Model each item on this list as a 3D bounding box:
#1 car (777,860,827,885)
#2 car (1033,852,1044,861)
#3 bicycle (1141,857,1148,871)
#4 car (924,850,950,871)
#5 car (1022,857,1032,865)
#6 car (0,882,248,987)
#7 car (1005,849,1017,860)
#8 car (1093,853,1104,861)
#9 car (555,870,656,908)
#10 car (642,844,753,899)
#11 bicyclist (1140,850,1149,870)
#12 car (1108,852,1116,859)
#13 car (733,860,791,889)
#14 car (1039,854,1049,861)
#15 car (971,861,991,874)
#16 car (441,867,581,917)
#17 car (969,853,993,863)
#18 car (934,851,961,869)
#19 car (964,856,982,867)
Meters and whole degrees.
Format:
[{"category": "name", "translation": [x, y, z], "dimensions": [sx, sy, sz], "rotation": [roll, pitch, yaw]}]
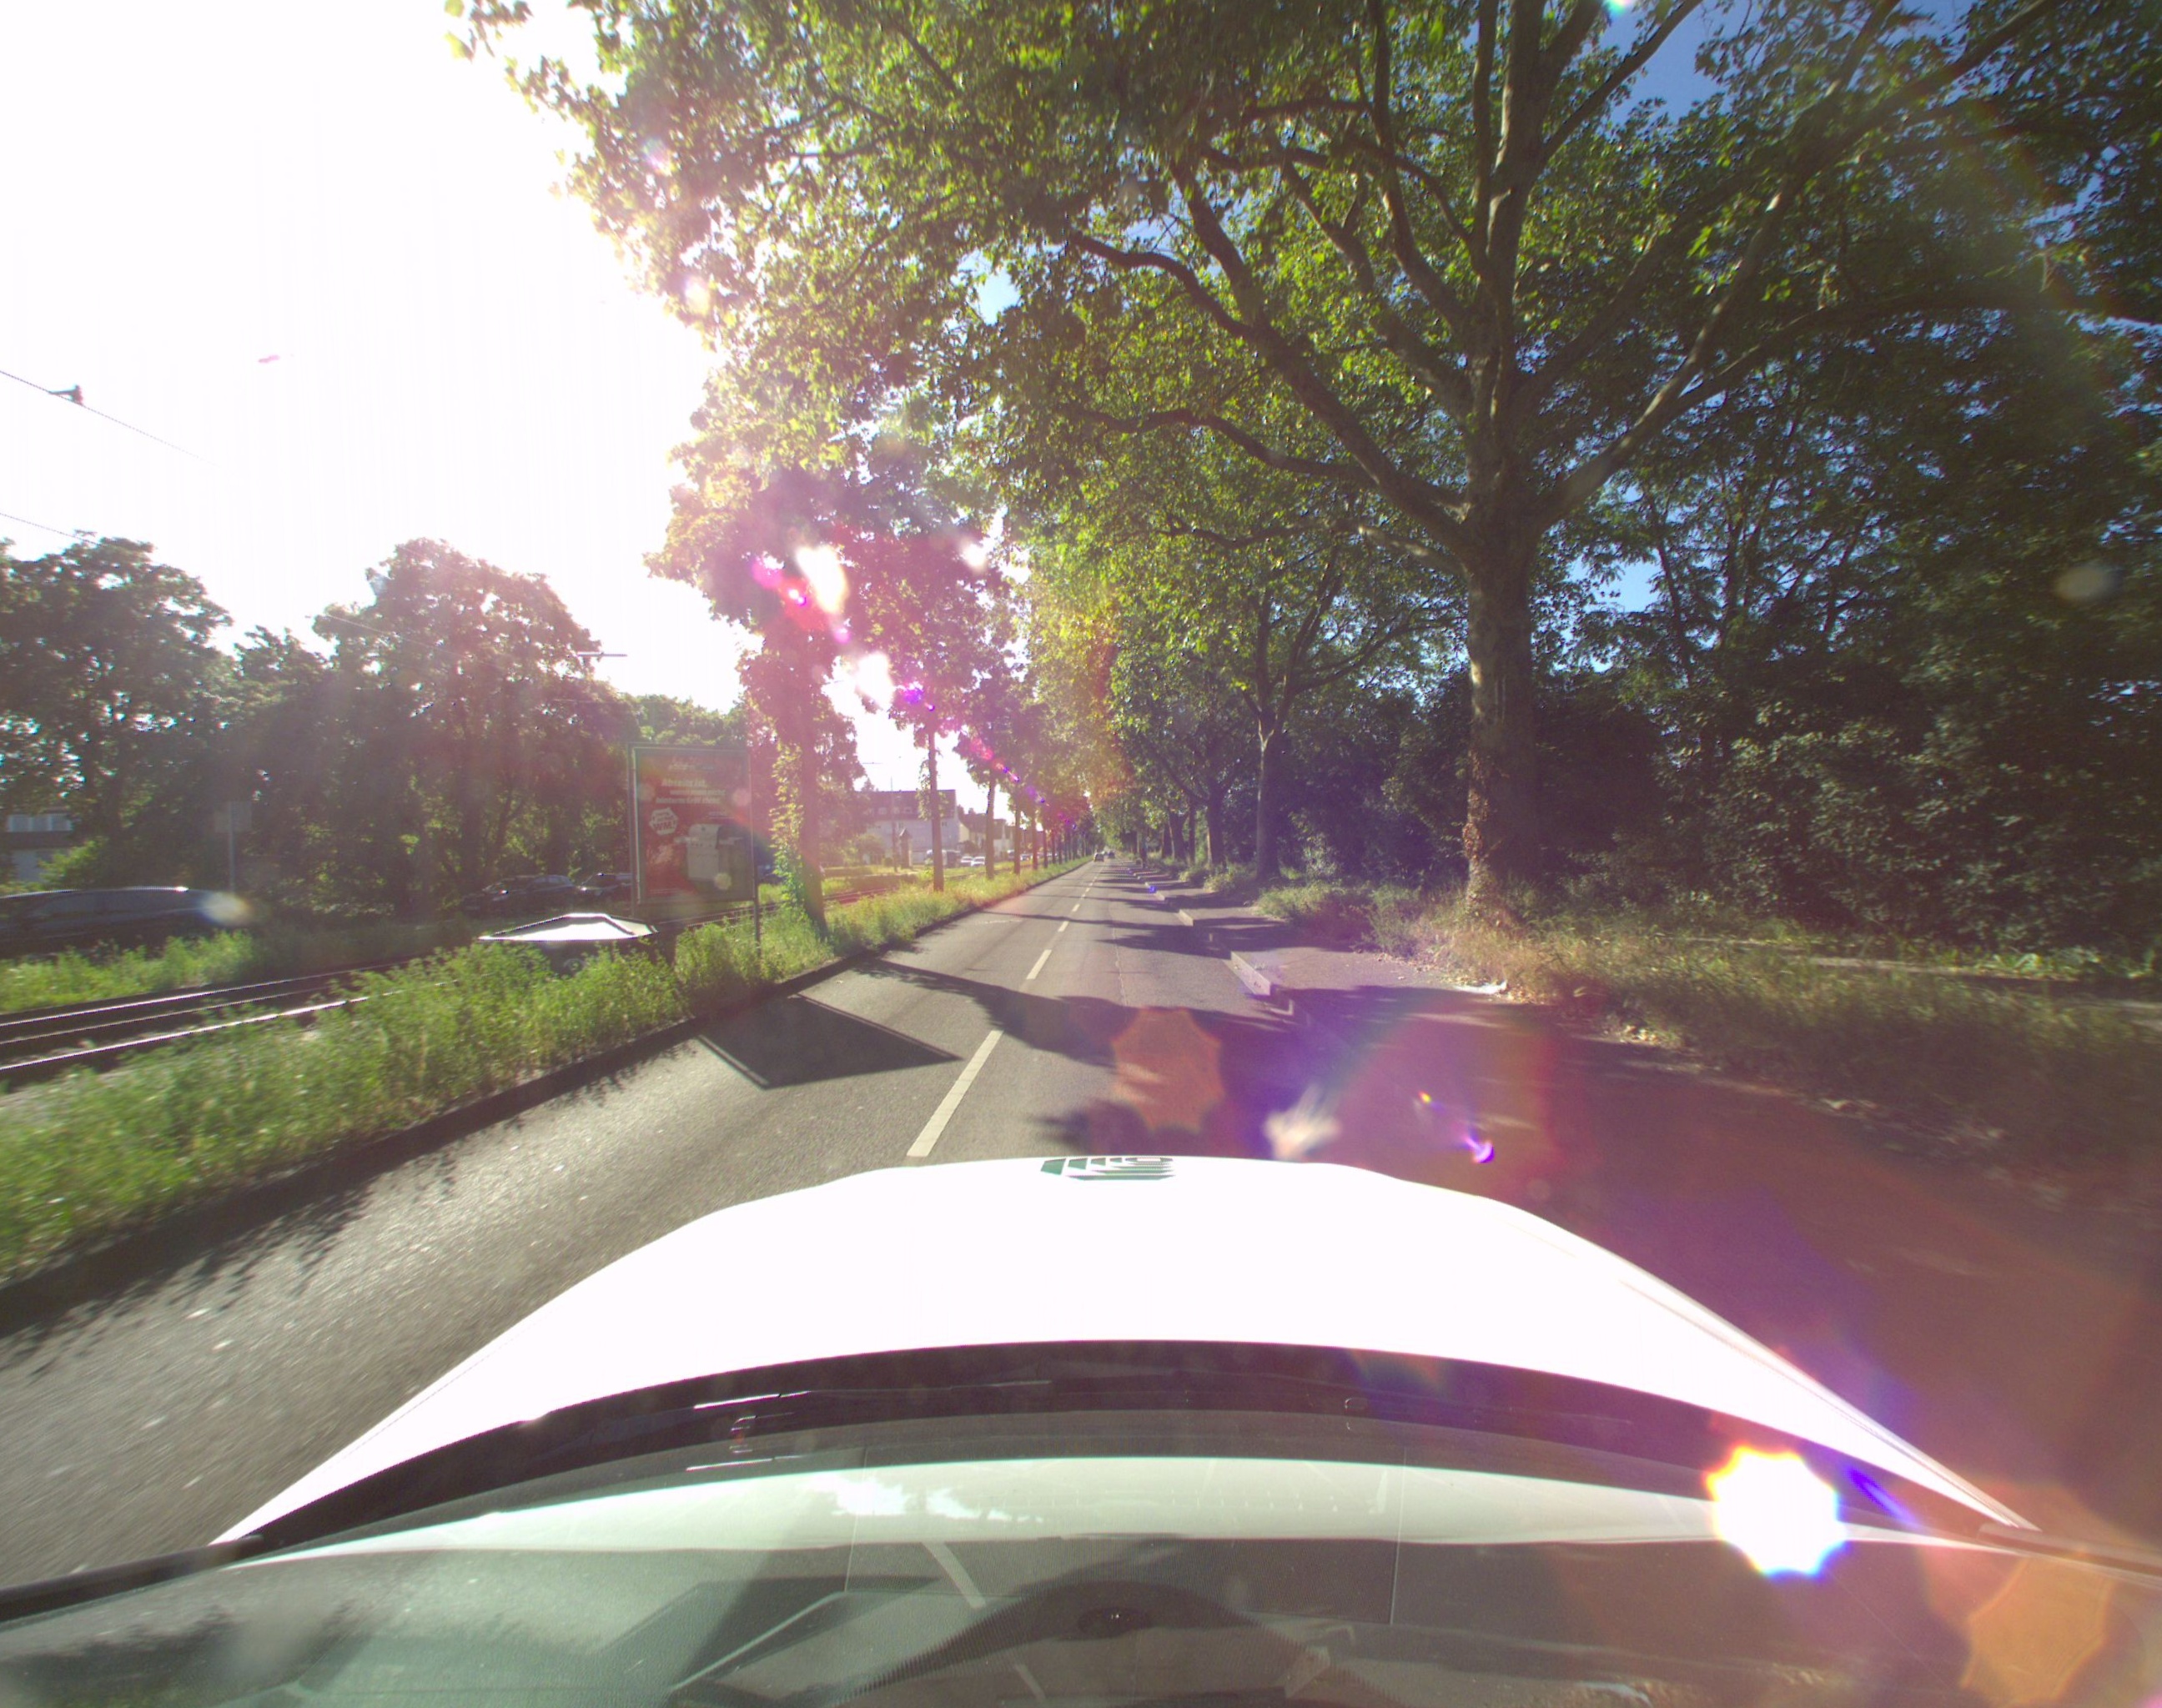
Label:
[{"category": "car", "translation": [-18.819, 1.220, 55.189], "dimensions": [1.667, 1.584, 4.252], "rotation": [0, 0, 4]}, {"category": "car", "translation": [-9.259, 0.550, 177.254], "dimensions": [1.803, 1.744, 4.984], "rotation": [0, 0, 2]}, {"category": "bicycle", "translation": [5.187, 0.793, 66.327], "dimensions": [0.438, 1.153, 1.824], "rotation": [-2, 0, 2]}, {"category": "car", "translation": [-17.431, 0.810, 98.936], "dimensions": [1.994, 2.496, 6.139], "rotation": [0, 0, 1]}, {"category": "car", "translation": [-10.301, 1.356, 155.327], "dimensions": [1.551, 1.395, 3.822], "rotation": [0, 0, 2]}, {"category": "car", "translation": [-17.187, 1.331, 13.565], "dimensions": [1.630, 1.495, 4.596], "rotation": [-4, -1, 3]}, {"category": "car", "translation": [-15.269, 0.091, 178.402], "dimensions": [1.986, 2.459, 6.677], "rotation": [0, 0, 2]}, {"category": "car", "translation": [2.913, 0.514, 133.542], "dimensions": [1.732, 1.401, 3.278], "rotation": [0, 0, 2]}, {"category": "car", "translation": [-19.892, 1.416, 34.269], "dimensions": [1.703, 1.434, 4.003], "rotation": [0, 0, 3]}, {"category": "car", "translation": [-19.406, 0.785, 41.699], "dimensions": [2.217, 2.580, 6.802], "rotation": [0, 0, 2]}, {"category": "bicyclist", "translation": [5.155, 0.474, 66.274], "dimensions": [0.611, 1.628, 0.910], "rotation": [-2, 0, 2]}, {"category": "car", "translation": [7.040, 0.359, 185.929], "dimensions": [1.754, 1.513, 3.279], "rotation": [0, 0, 3]}, {"category": "car", "translation": [-19.148, 1.209, 49.062], "dimensions": [1.616, 1.622, 4.534], "rotation": [0, 0, 2]}, {"category": "car", "translation": [-8.783, 0.887, 192.655], "dimensions": [1.985, 1.531, 3.754], "rotation": [-2, 0, 3]}, {"category": "car", "translation": [-12.351, 1.703, 101.210], "dimensions": [1.720, 1.528, 4.445], "rotation": [0, 0, 3]}, {"category": "car", "translation": [-20.222, 1.298, 29.139], "dimensions": [1.760, 1.563, 4.287], "rotation": [-1, 0, 4]}, {"category": "car", "translation": [-20.271, 0.724, 164.950], "dimensions": [4.616, 1.945, 1.994], "rotation": [-1, 0, -9]}, {"category": "car", "translation": [-17.409, 0.781, 106.609], "dimensions": [2.174, 2.376, 6.468], "rotation": [0, 0, 2]}, {"category": "car", "translation": [-15.845, 1.086, 120.118], "dimensions": [1.815, 1.607, 4.776], "rotation": [0, 0, 2]}]
